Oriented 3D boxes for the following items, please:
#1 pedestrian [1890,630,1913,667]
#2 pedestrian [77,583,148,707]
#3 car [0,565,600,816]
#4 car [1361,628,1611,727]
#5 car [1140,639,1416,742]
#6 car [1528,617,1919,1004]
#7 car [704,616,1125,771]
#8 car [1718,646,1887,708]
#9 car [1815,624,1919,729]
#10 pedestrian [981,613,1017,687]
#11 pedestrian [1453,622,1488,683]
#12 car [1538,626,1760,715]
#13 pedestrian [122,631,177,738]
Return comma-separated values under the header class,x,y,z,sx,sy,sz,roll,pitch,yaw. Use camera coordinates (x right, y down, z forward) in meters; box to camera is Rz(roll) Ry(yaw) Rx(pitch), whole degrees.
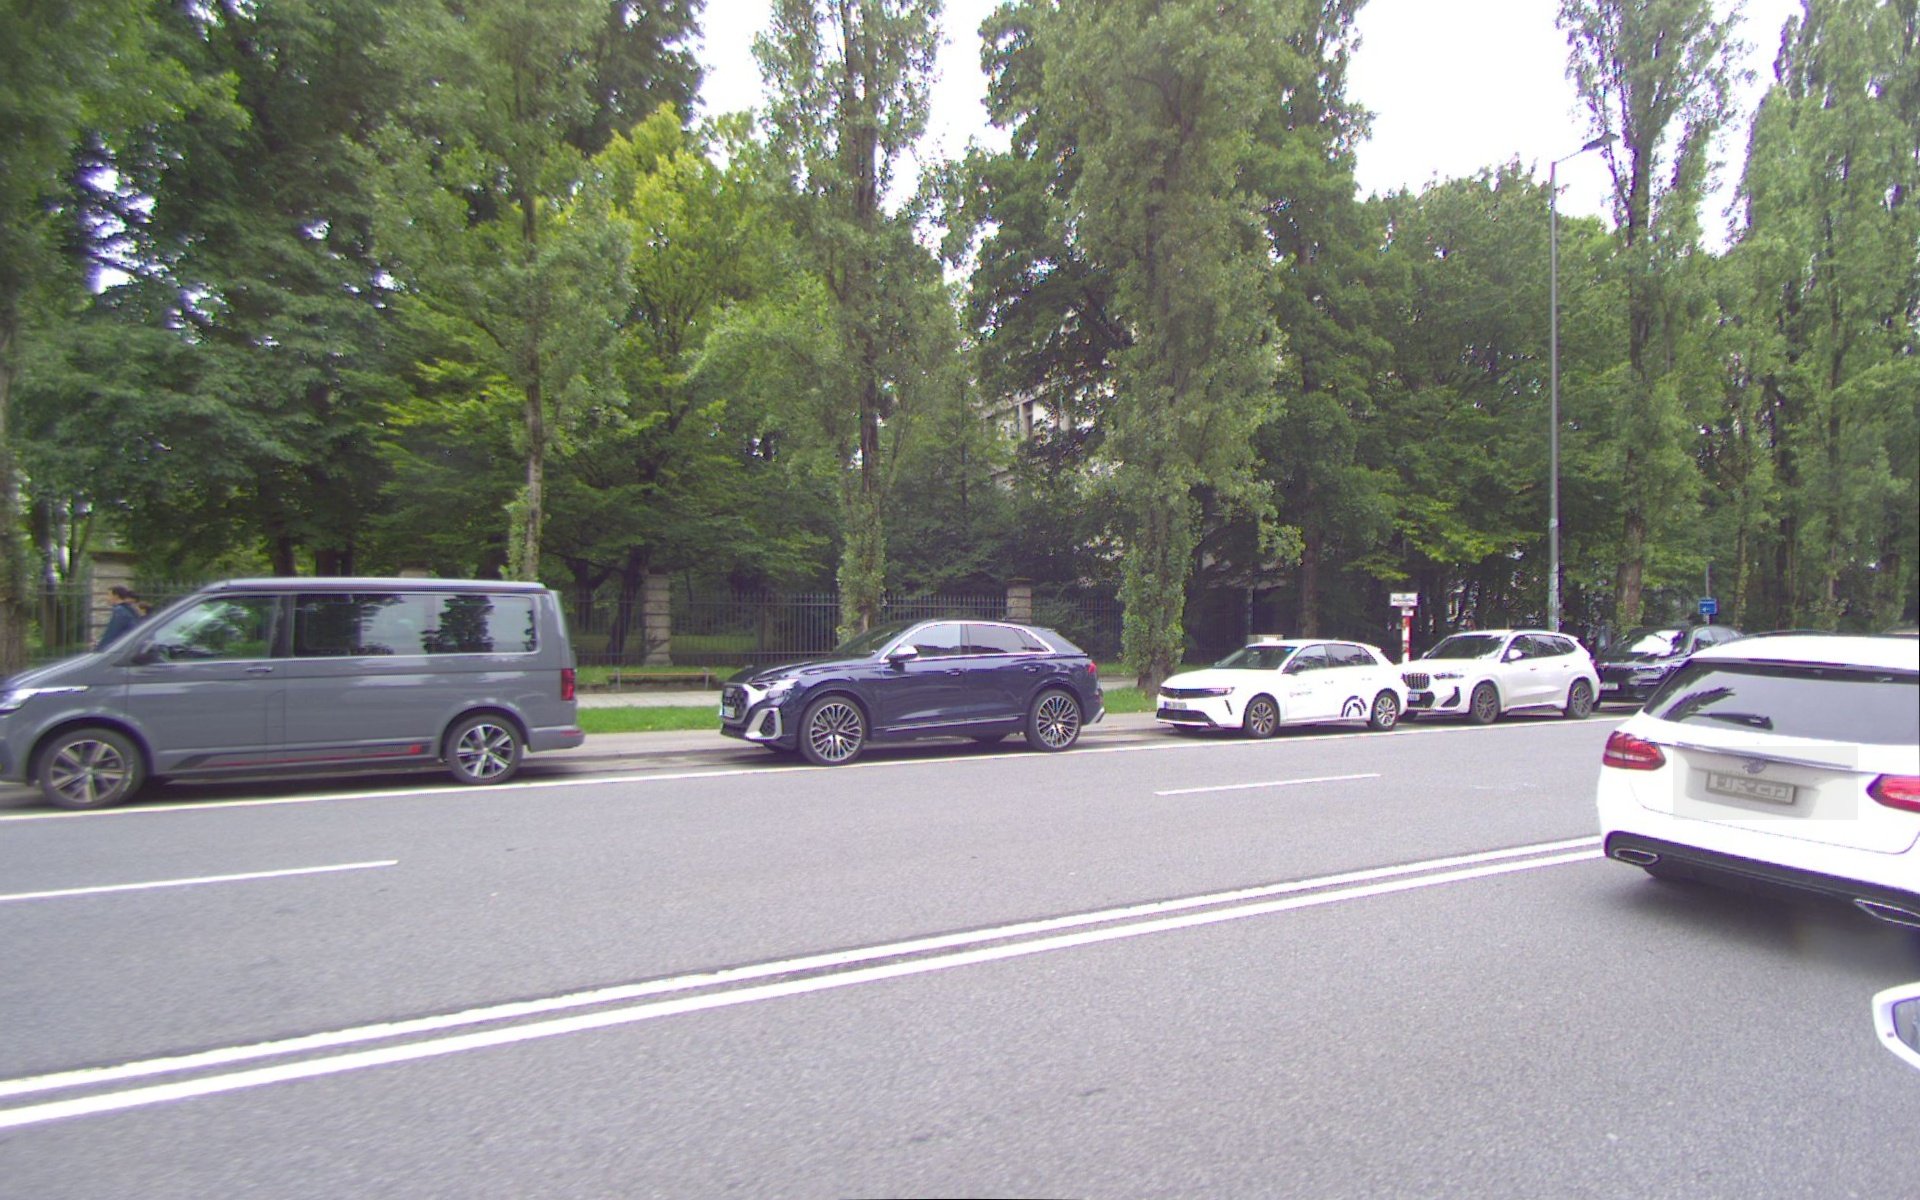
class,x,y,z,sx,sy,sz,roll,pitch,yaw
pedestrian,44.770,2.294,47.772,0.632,1.762,0.597,1,-2,-27
pedestrian,-13.196,0.686,15.663,0.713,1.884,0.507,1,-1,-27
car,-6.228,0.795,9.847,4.875,1.982,1.986,1,-3,-28
car,9.556,1.341,18.218,4.403,1.609,1.780,1,-4,-27
car,5.017,1.348,15.756,4.184,1.440,1.670,1,-3,-28
car,5.423,0.877,5.546,4.524,1.474,1.819,1,-1,-28
car,-0.492,1.096,12.573,4.989,1.629,1.809,1,-4,-28
car,19.695,1.762,23.463,3.976,1.321,1.575,1,-3,-27
car,16.927,1.277,17.442,4.062,1.678,1.778,1,-3,-28
pedestrian,0.949,1.207,24.452,0.664,1.771,0.547,1,-1,-28
pedestrian,15.664,1.613,30.829,0.765,1.839,0.637,1,-1,-27
car,14.332,1.423,20.849,4.660,1.680,1.873,1,-4,-29
pedestrian,-13.254,1.366,16.433,0.541,1.697,0.584,1,-1,-25
